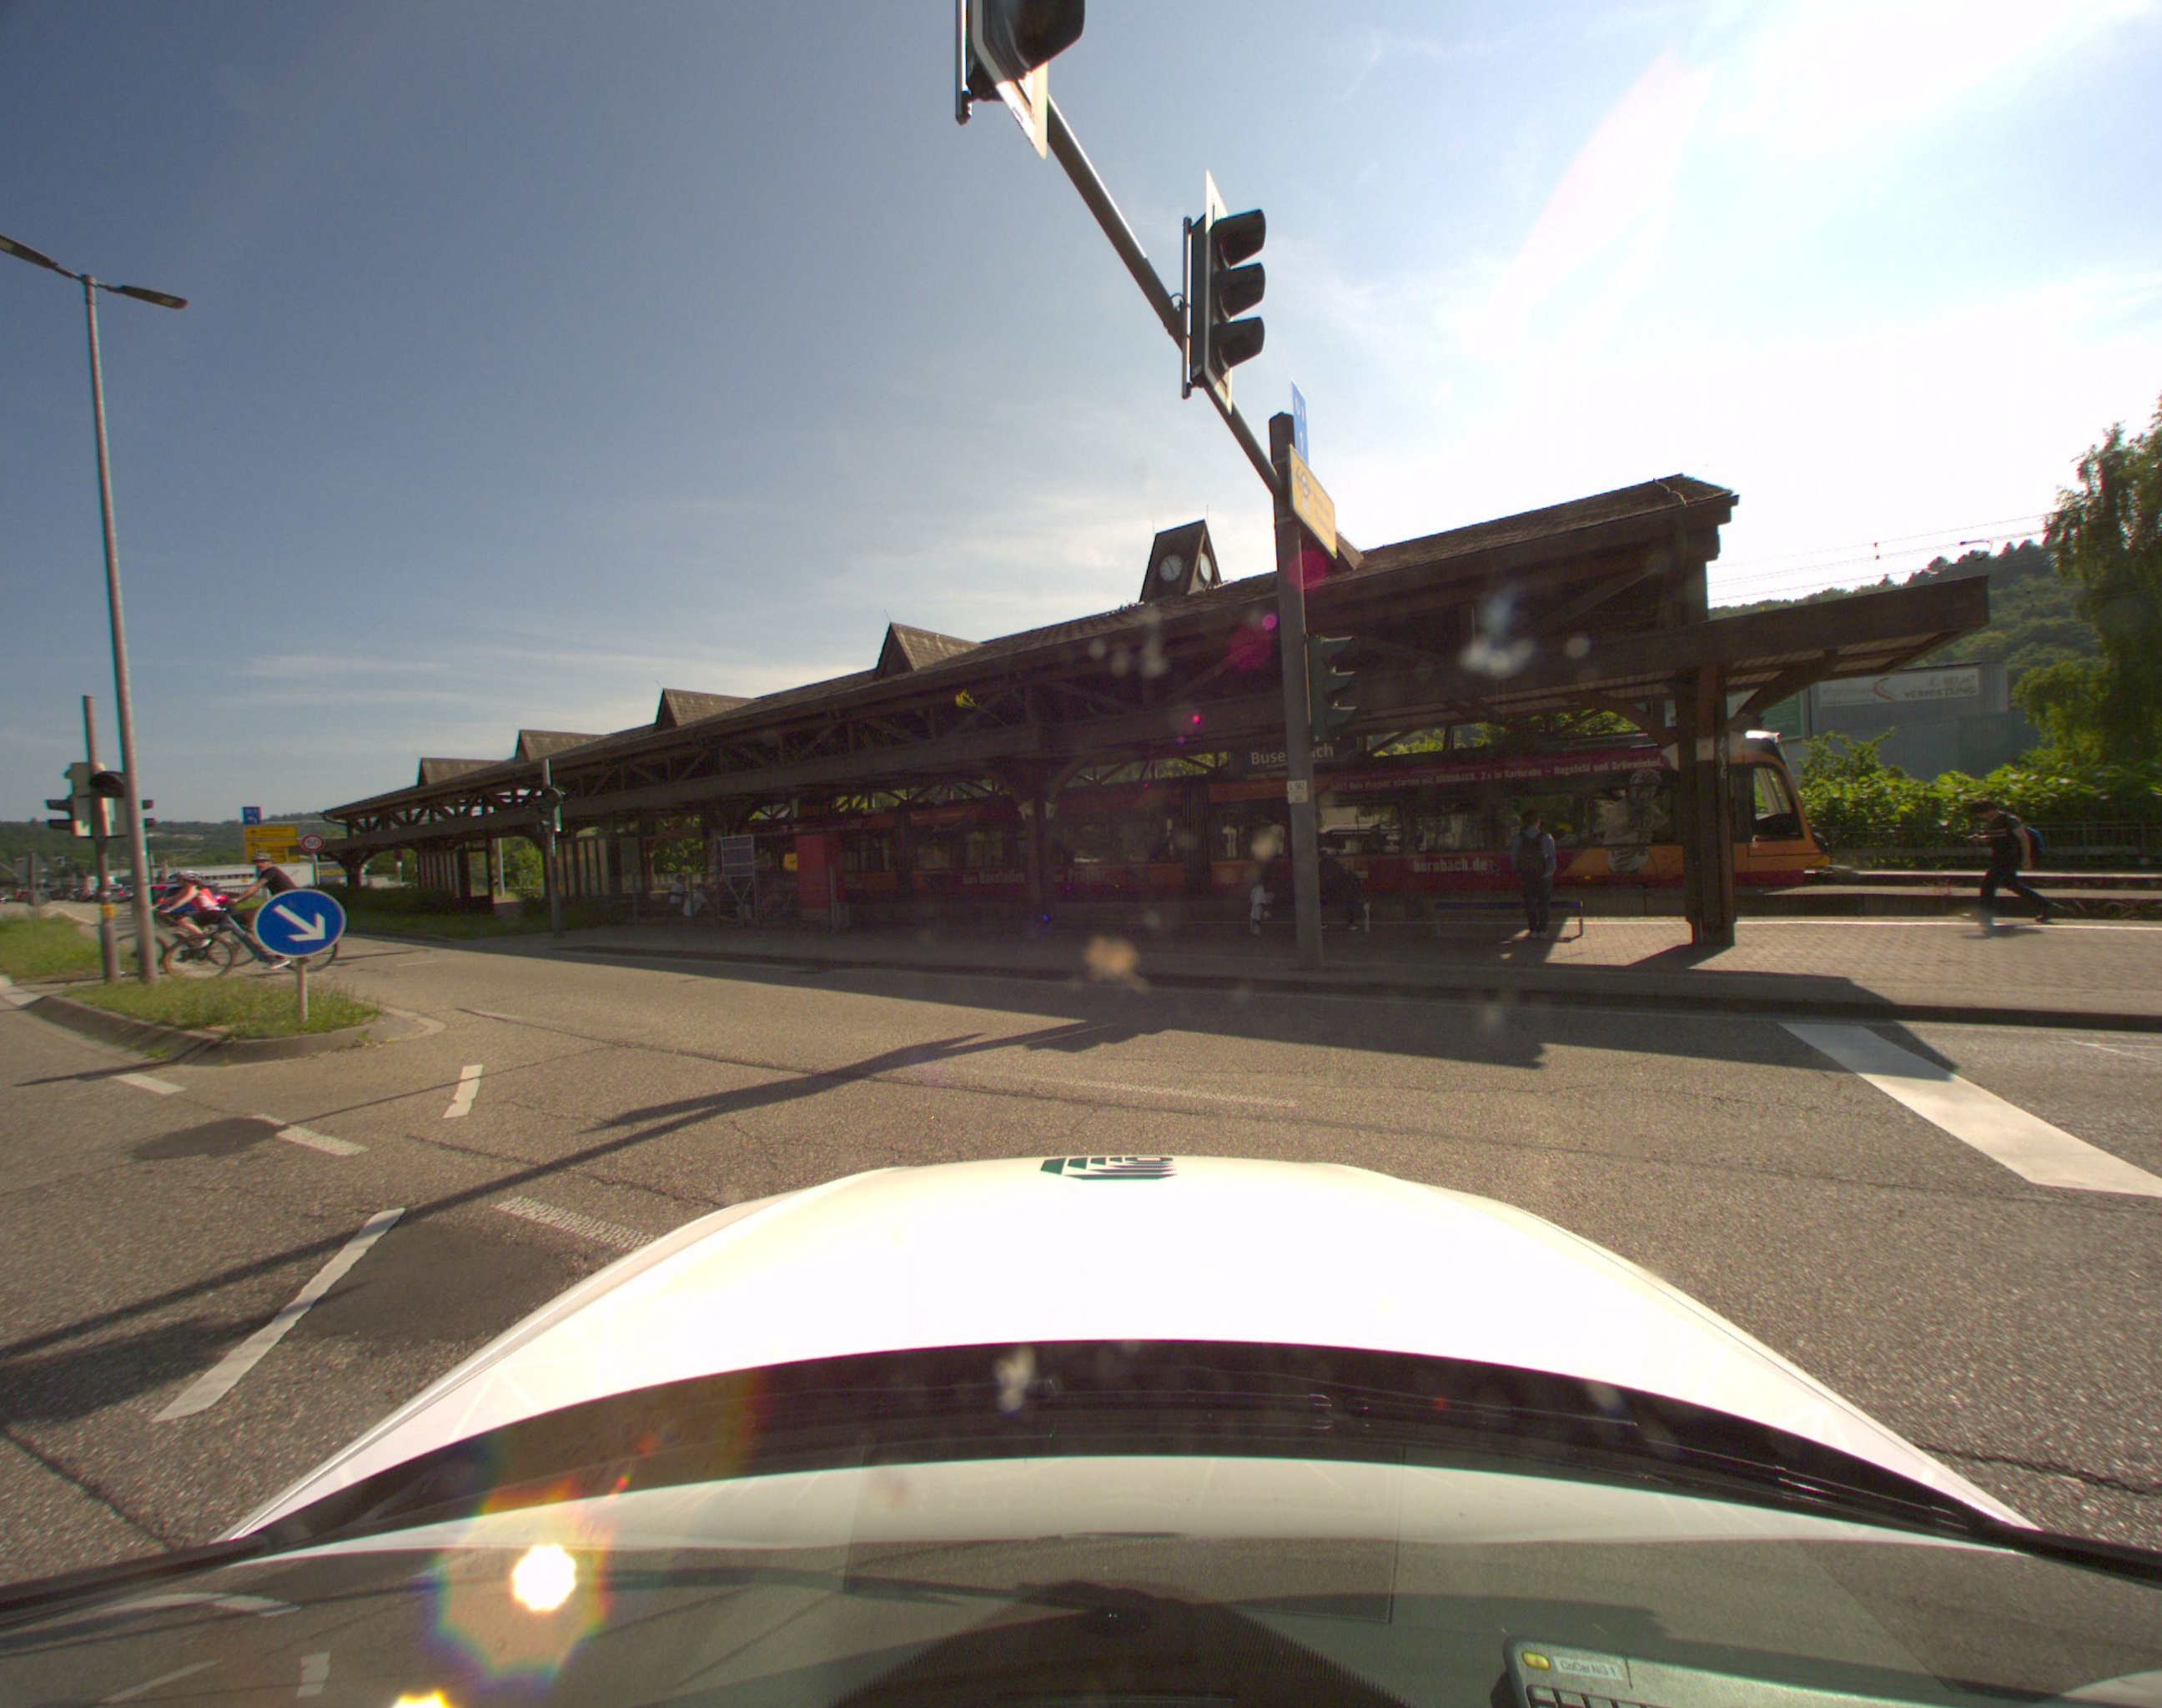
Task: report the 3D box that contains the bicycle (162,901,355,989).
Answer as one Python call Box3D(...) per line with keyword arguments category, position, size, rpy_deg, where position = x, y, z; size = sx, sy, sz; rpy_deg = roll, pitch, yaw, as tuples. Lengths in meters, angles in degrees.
Box3D(category="bicycle", position=(-12.780, 1.362, 12.725), size=(0.725, 1.162, 2.012), rpy_deg=(-2, -2, 33))

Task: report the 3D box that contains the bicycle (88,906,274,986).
Box3D(category="bicycle", position=(-15.218, 1.515, 13.846), size=(0.725, 1.064, 1.985), rpy_deg=(-1, 1, 29))

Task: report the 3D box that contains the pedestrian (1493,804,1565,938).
Box3D(category="pedestrian", position=(5.893, 0.222, 10.748), size=(0.730, 1.691, 0.662), rpy_deg=(-2, 0, 24))

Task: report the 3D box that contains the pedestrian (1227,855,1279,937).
Box3D(category="pedestrian", position=(2.710, 0.635, 12.815), size=(0.589, 1.236, 1.000), rpy_deg=(-1, -1, 24))

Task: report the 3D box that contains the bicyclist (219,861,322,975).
Box3D(category="bicyclist", position=(-12.727, 0.968, 12.801), size=(0.796, 1.691, 0.999), rpy_deg=(-1, -1, 33))

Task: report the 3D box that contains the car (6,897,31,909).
Box3D(category="car", position=(-146.739, 6.734, 112.518), size=(4.655, 1.470, 1.809), rpy_deg=(-2, 0, 41))

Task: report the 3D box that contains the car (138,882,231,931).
Box3D(category="car", position=(-32.256, 1.833, 29.281), size=(3.948, 1.548, 1.886), rpy_deg=(-2, 0, 37))

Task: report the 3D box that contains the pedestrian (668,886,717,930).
Box3D(category="pedestrian", position=(-9.114, 1.249, 19.118), size=(0.759, 0.982, 0.749), rpy_deg=(-1, -1, 31))

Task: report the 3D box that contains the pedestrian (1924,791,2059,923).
Box3D(category="pedestrian", position=(11.353, 0.028, 10.200), size=(0.910, 1.547, 0.869), rpy_deg=(-1, 1, 32))

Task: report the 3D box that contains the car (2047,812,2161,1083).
Box3D(category="car", position=(7.837, 0.451, 3.563), size=(4.250, 1.482, 1.877), rpy_deg=(-2, 1, 22))

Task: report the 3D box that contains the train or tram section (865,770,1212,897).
Box3D(category="train or tram section", position=(-1.859, -0.393, 26.591), size=(11.891, 3.364, 2.813), rpy_deg=(-3, -2, 34))

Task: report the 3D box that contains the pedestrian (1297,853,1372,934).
Box3D(category="pedestrian", position=(3.916, 0.596, 12.521), size=(0.937, 1.160, 1.015), rpy_deg=(-2, 0, 24))

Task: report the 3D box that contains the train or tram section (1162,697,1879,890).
Box3D(category="train or tram section", position=(9.039, -0.945, 19.616), size=(14.168, 3.365, 2.883), rpy_deg=(-2, 0, 32))

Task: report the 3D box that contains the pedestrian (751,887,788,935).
Box3D(category="pedestrian", position=(-6.635, 1.199, 17.353), size=(0.401, 0.966, 0.623), rpy_deg=(-1, -1, 31))

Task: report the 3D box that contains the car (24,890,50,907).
Box3D(category="car", position=(-131.511, 5.587, 102.590), size=(3.948, 2.013, 2.013), rpy_deg=(-2, 0, 38))

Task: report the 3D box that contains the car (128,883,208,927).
Box3D(category="car", position=(-36.590, 2.007, 32.610), size=(3.948, 1.571, 2.013), rpy_deg=(-3, -1, 40))

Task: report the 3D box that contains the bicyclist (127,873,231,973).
Box3D(category="bicyclist", position=(-15.259, 1.129, 13.791), size=(0.796, 1.564, 0.963), rpy_deg=(-1, 1, 29))

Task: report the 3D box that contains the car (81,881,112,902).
Box3D(category="car", position=(-106.589, 4.016, 88.166), size=(4.658, 2.144, 2.013), rpy_deg=(-2, -1, 38))

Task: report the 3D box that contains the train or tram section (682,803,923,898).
Box3D(category="train or tram section", position=(-11.696, 0.017, 33.214), size=(11.891, 3.364, 2.782), rpy_deg=(-2, -1, 35))

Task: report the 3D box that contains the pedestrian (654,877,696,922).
Box3D(category="pedestrian", position=(-10.690, 1.186, 21.439), size=(0.659, 1.116, 0.749), rpy_deg=(-1, -1, 31))

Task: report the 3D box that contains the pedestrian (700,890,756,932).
Box3D(category="pedestrian", position=(-7.919, 1.272, 18.281), size=(0.797, 0.874, 0.853), rpy_deg=(-1, -1, 31))
